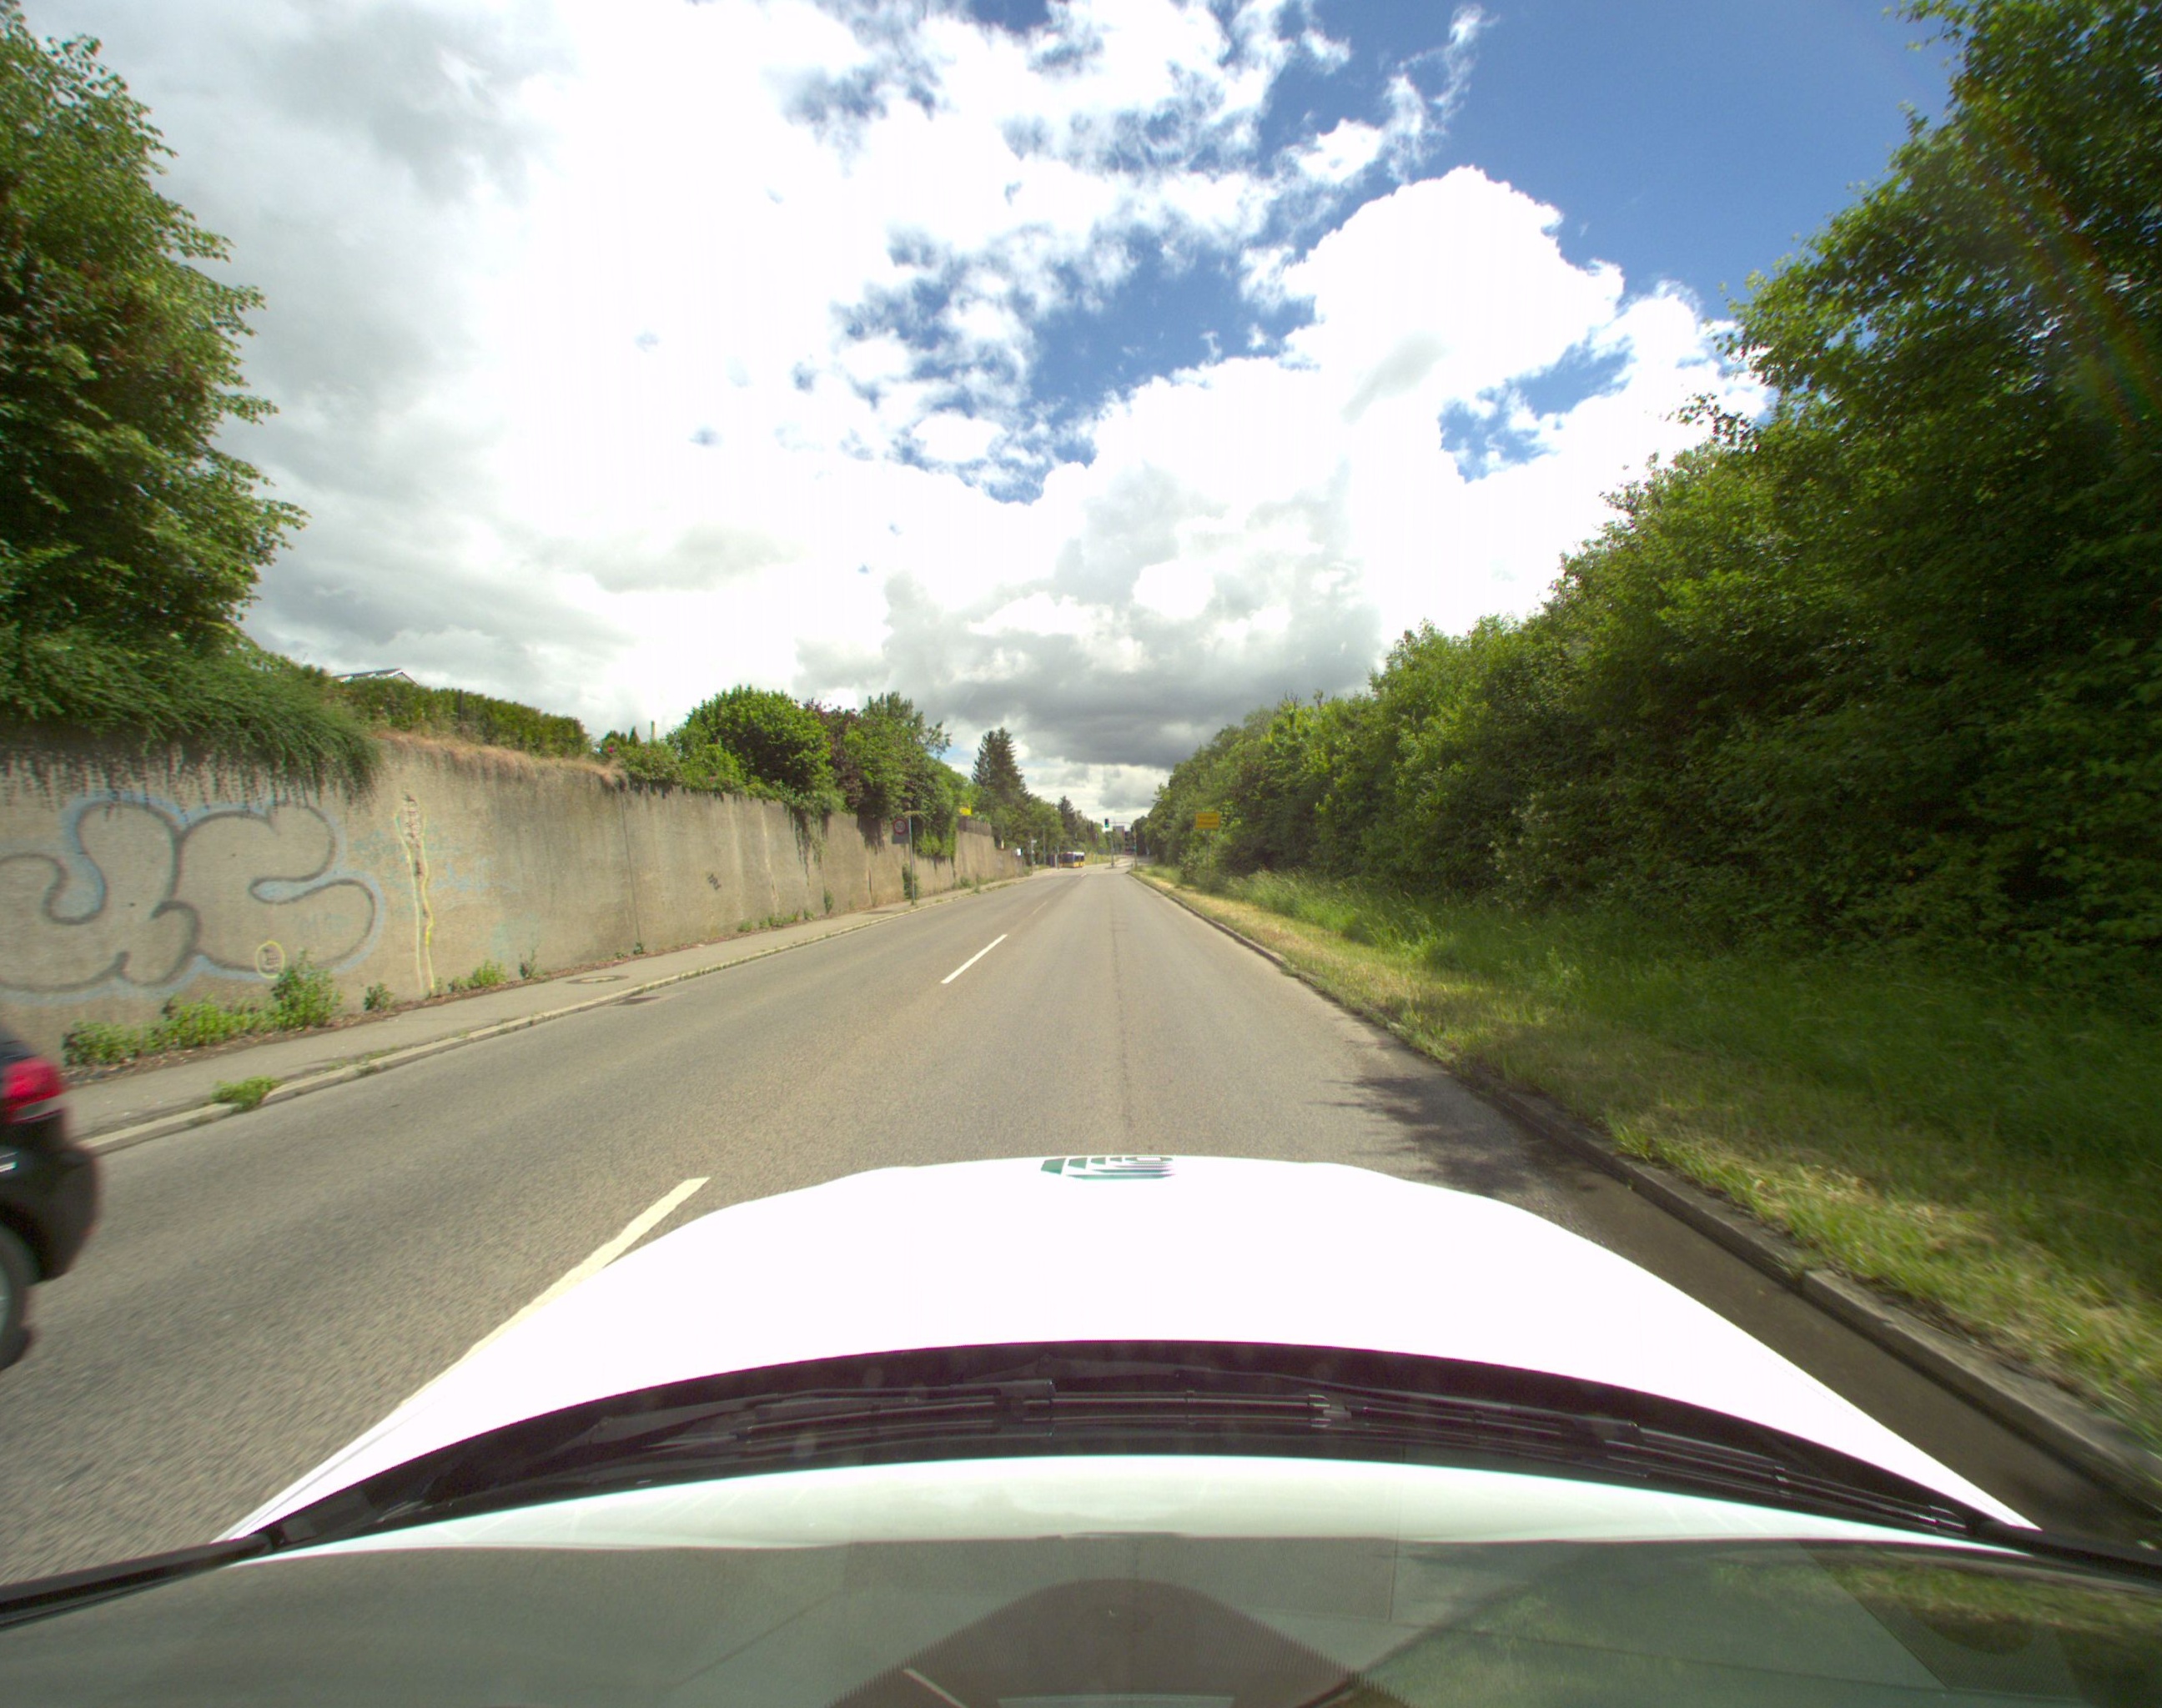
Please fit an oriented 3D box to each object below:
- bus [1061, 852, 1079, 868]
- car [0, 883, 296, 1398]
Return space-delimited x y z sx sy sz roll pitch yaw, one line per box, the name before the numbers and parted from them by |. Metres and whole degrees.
bus | -2.103 1.100 159.396 2.881 2.898 7.678 0 1 5
car | -4.073 0.901 1.242 1.745 1.464 4.001 -3 0 1
